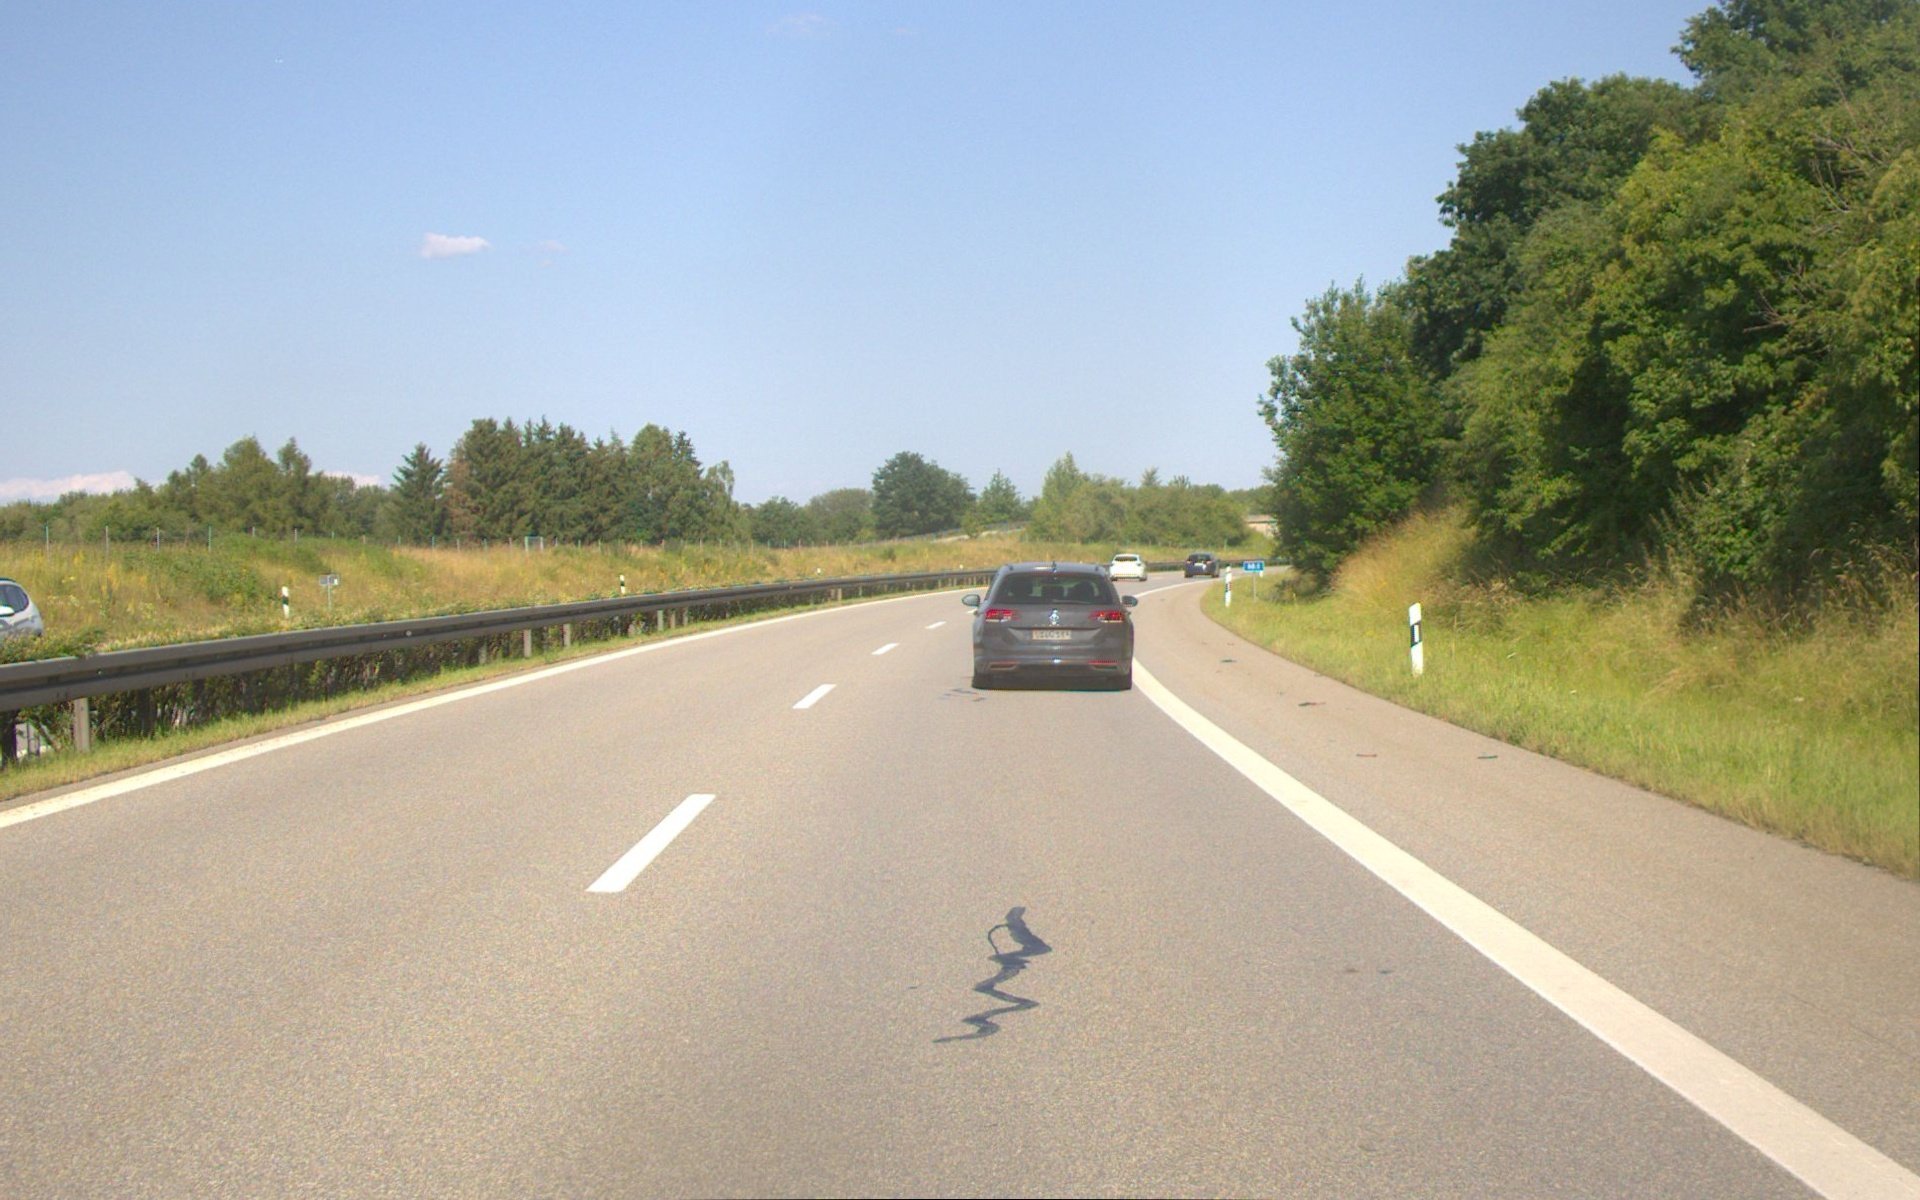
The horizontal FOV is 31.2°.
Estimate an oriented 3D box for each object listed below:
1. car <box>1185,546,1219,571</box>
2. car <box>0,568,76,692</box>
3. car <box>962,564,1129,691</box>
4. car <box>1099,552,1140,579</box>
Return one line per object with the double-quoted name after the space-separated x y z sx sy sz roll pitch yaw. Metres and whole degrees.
14.365 -2.446 203.868 1.711 1.382 3.354 1 0 8 "car"
-13.917 0.460 47.945 1.765 1.617 5.009 -4 1 0 "car"
0.971 0.290 39.165 1.791 1.340 4.000 1 0 1 "car"
8.287 -1.779 178.472 2.007 1.340 3.999 1 0 3 "car"
